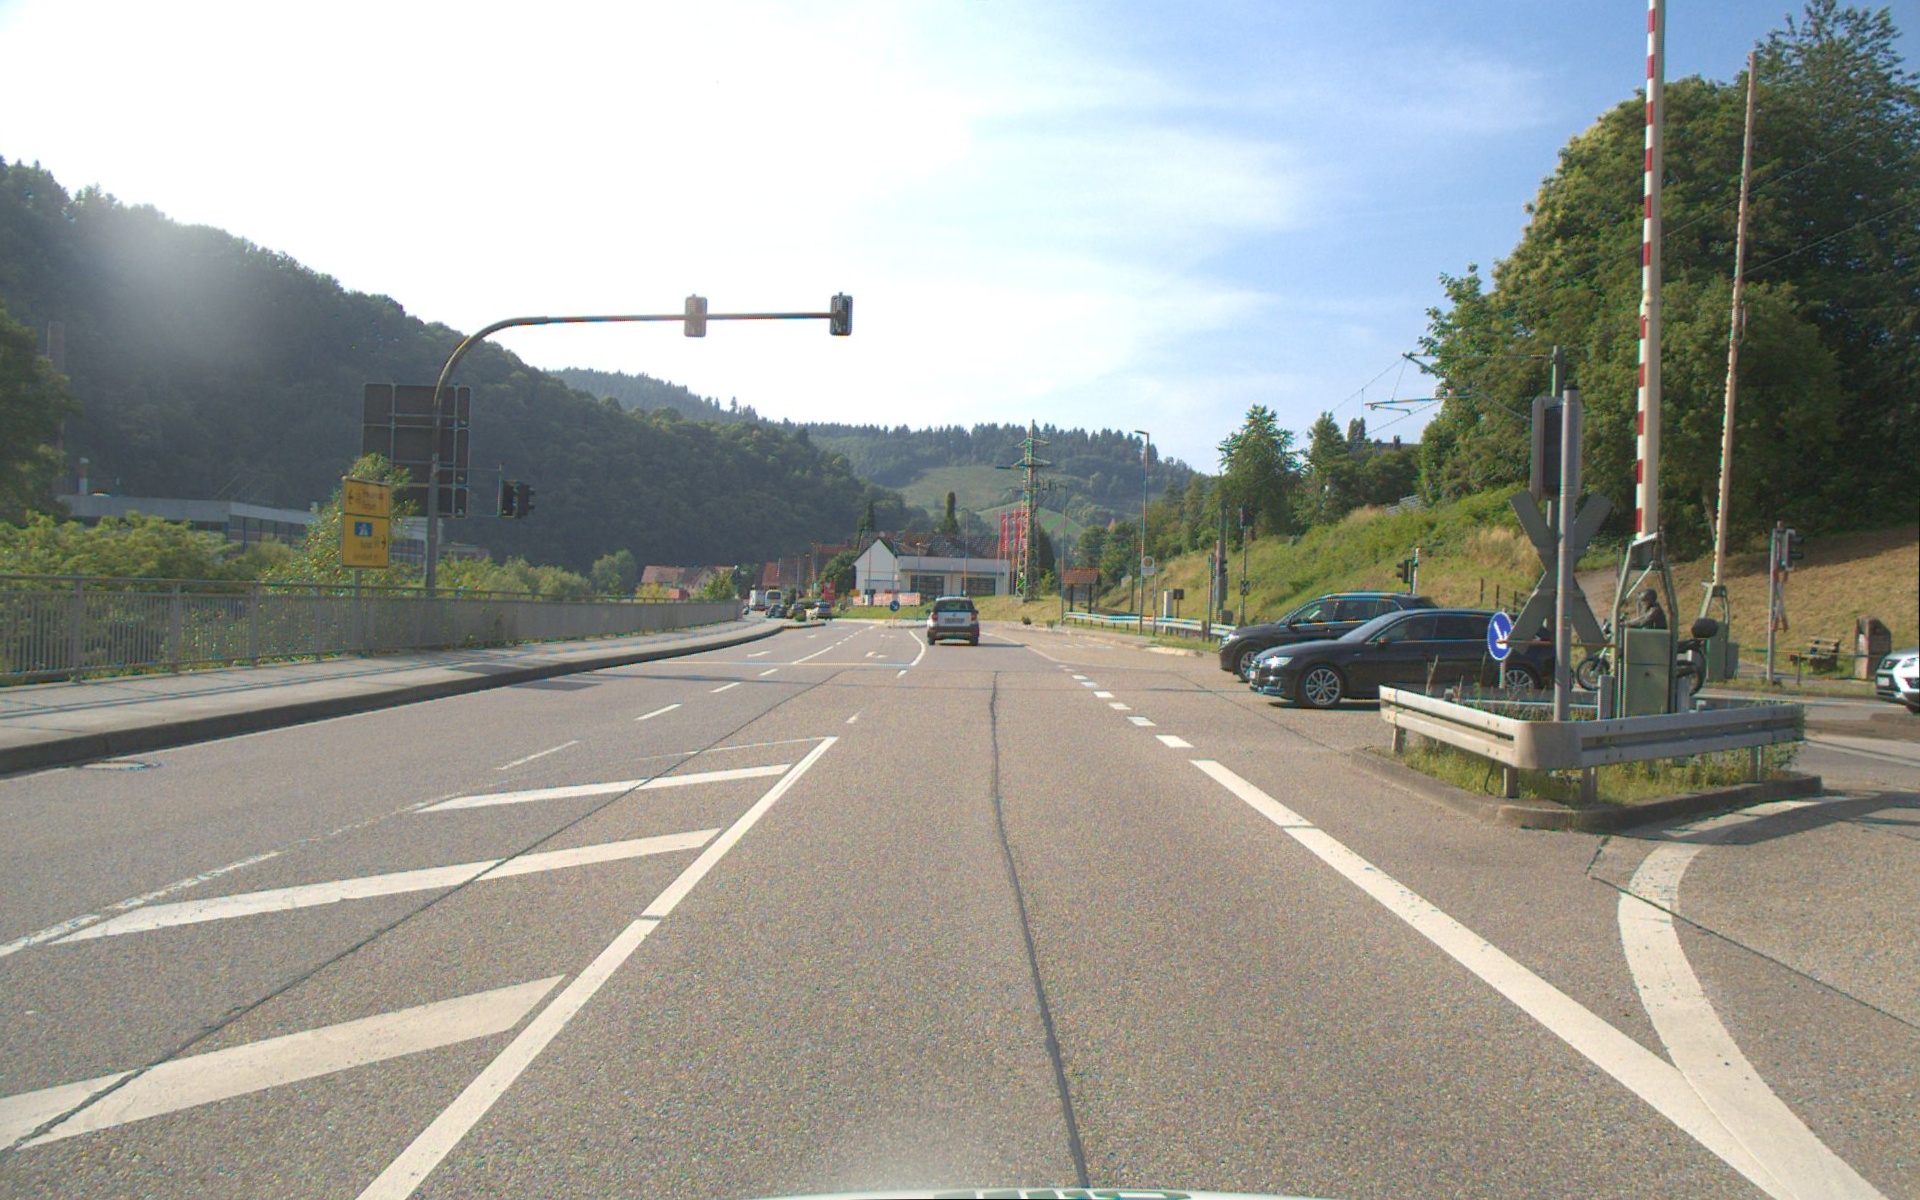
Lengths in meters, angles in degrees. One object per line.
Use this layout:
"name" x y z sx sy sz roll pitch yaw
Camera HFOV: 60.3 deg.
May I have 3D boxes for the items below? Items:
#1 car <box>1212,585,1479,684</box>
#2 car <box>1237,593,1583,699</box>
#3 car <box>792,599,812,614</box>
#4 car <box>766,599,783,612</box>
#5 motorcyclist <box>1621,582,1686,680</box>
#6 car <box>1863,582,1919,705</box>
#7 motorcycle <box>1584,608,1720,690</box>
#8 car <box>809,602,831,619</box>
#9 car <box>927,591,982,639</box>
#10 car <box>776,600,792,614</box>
"car" 7.136 0.597 30.581 4.628 1.689 1.931 1 0 20
"car" 6.515 0.646 24.336 4.628 1.495 1.842 0 0 2
"car" -16.435 0.668 171.825 1.432 1.460 2.920 2 1 -19
"car" -22.465 0.708 200.572 1.432 1.460 2.920 2 1 -19
"motorcyclist" 11.892 0.523 28.379 0.887 1.624 0.766 2 0 16
"car" 15.430 0.684 23.634 4.025 1.716 1.836 2 0 13
"motorcycle" 11.847 0.823 28.391 2.049 1.276 0.799 2 0 18
"car" -13.205 1.002 155.693 1.431 1.460 2.921 2 1 -18
"car" -0.166 0.548 58.315 1.823 1.571 4.373 2 -1 1
"car" -19.652 0.766 184.925 1.214 1.460 2.626 0 1 -19
